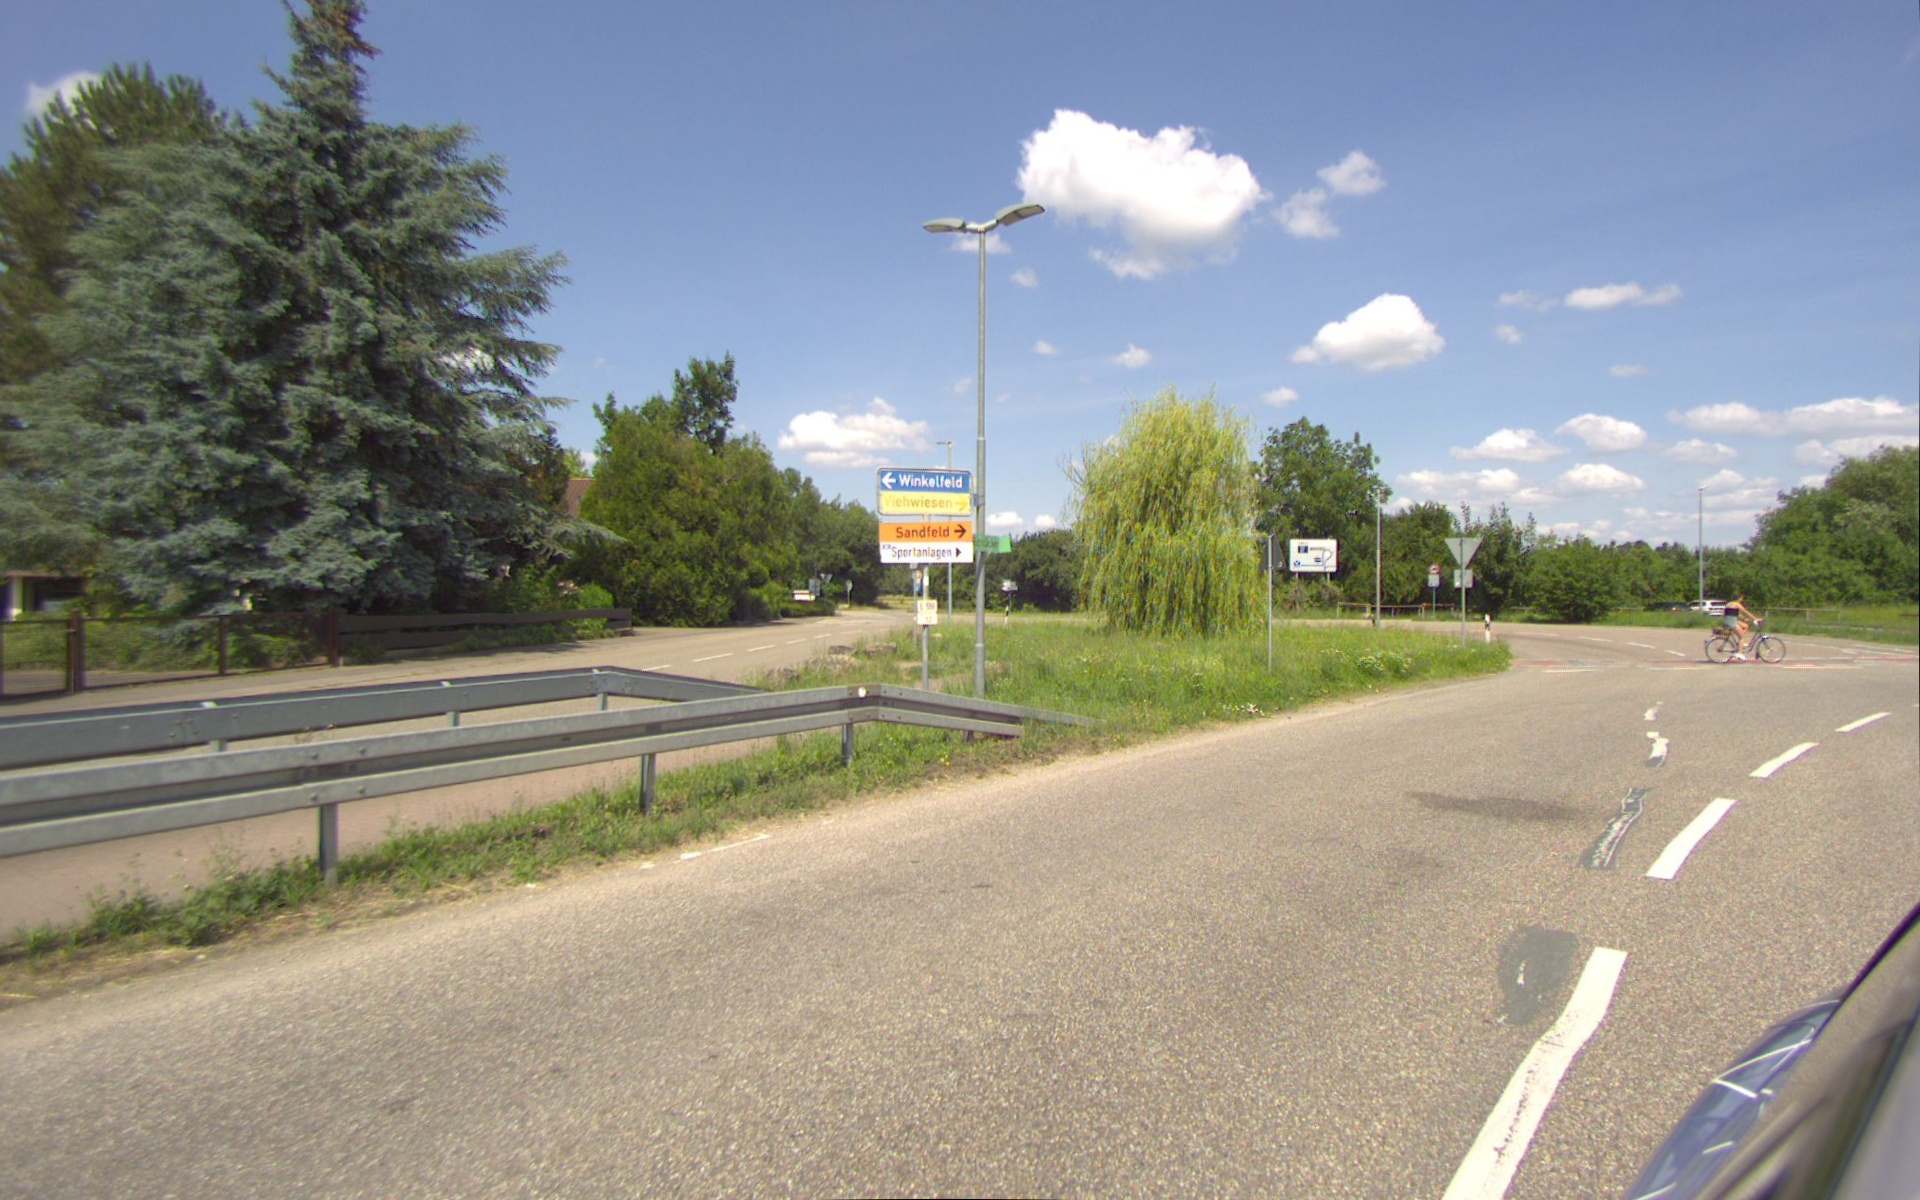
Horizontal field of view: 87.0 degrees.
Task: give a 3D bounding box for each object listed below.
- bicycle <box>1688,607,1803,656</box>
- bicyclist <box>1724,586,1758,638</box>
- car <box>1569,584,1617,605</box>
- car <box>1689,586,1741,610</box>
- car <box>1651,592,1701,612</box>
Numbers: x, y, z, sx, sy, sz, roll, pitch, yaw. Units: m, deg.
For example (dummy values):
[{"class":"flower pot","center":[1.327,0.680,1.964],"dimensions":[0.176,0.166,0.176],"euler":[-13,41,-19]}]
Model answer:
[{"class":"bicycle","center":[19.662,0.797,25.385],"dimensions":[2.120,1.179,0.656],"euler":[-2,-1,22]},{"class":"bicyclist","center":[19.604,0.293,25.403],"dimensions":[0.505,1.271,0.466],"euler":[-2,-1,21]},{"class":"car","center":[43.989,-0.388,70.350],"dimensions":[1.392,1.355,3.116],"euler":[-1,-1,2]},{"class":"car","center":[52.087,-0.126,69.845],"dimensions":[1.393,1.524,3.113],"euler":[-1,-1,5]},{"class":"car","center":[49.327,0.143,69.767],"dimensions":[1.393,1.355,3.113],"euler":[-1,-1,5]}]
